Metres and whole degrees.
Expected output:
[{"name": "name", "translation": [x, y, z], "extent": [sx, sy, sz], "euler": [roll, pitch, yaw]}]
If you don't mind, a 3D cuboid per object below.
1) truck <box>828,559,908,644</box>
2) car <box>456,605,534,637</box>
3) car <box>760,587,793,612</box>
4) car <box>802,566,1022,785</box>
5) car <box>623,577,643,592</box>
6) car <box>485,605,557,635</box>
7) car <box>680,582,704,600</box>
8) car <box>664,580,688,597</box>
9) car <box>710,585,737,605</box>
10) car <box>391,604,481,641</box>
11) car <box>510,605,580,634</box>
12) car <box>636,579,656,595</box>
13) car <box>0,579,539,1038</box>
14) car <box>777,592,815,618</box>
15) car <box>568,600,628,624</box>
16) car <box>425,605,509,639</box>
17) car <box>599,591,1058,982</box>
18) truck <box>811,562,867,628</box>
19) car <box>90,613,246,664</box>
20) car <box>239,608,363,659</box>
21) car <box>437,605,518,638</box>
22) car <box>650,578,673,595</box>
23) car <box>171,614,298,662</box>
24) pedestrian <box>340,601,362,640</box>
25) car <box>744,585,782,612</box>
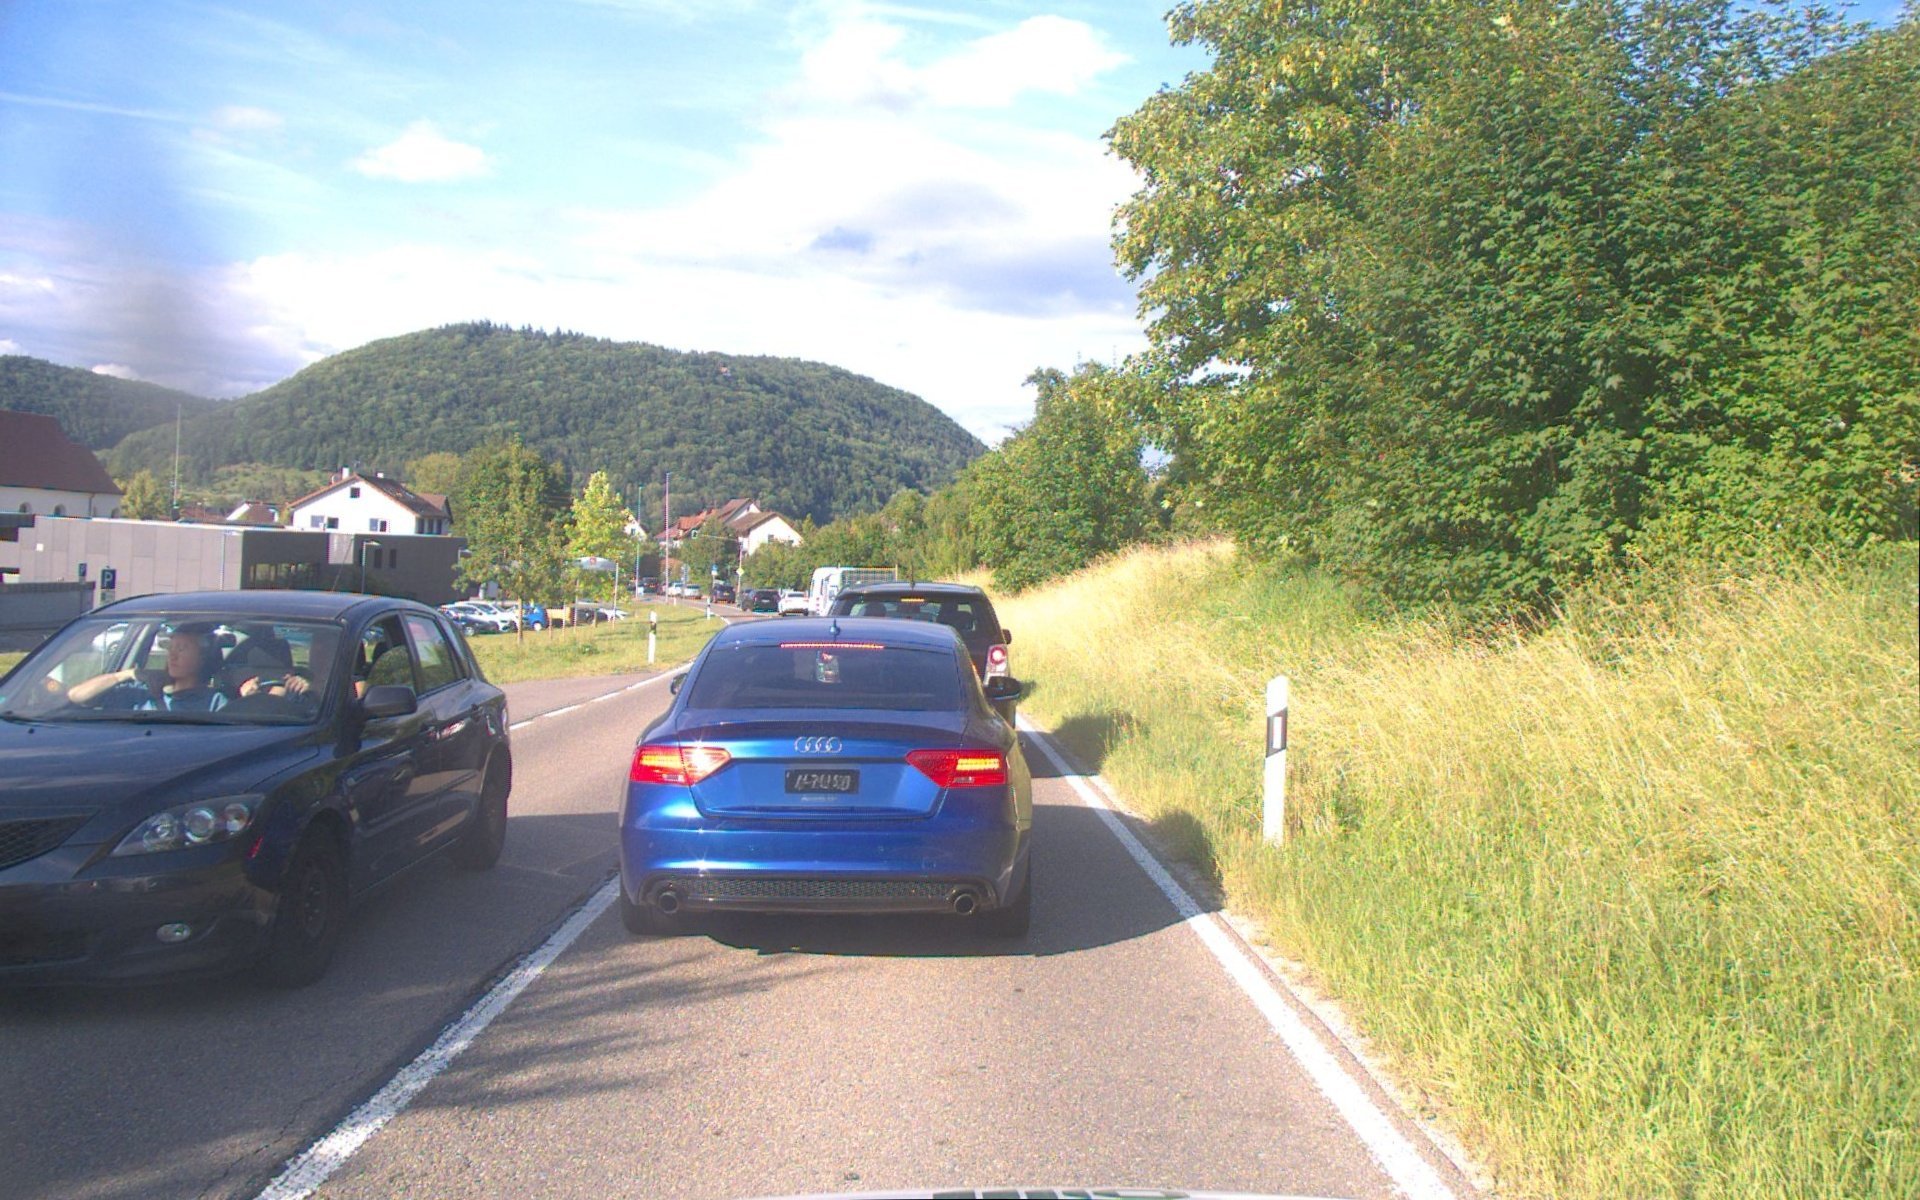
[{"name": "truck", "translation": [-3.129, 0.064, 54.849], "extent": [2.188, 2.615, 6.093], "euler": [1, 0, -7]}, {"name": "car", "translation": [-26.726, 1.184, 95.126], "extent": [3.907, 1.741, 1.999], "euler": [1, 0, -3]}, {"name": "car", "translation": [-13.102, -0.032, 117.758], "extent": [1.814, 1.742, 3.986], "euler": [1, 0, -13]}, {"name": "car", "translation": [-0.378, 0.608, 15.061], "extent": [1.718, 1.710, 3.846], "euler": [1, 0, 0]}, {"name": "car", "translation": [-39.139, -1.875, 197.754], "extent": [1.817, 1.742, 3.979], "euler": [1, 0, -19]}, {"name": "car", "translation": [-26.755, 1.214, 100.912], "extent": [3.907, 1.741, 1.999], "euler": [1, 0, -3]}, {"name": "car", "translation": [-26.225, -0.845, 161.839], "extent": [1.815, 1.742, 3.983], "euler": [1, 0, -16]}, {"name": "car", "translation": [-29.258, -1.151, 170.502], "extent": [1.817, 1.742, 3.979], "euler": [1, 0, -19]}, {"name": "car", "translation": [-20.595, -0.431, 144.171], "extent": [1.815, 1.742, 3.983], "euler": [1, 0, -16]}, {"name": "car", "translation": [-26.478, 1.127, 83.641], "extent": [3.907, 1.741, 1.999], "euler": [1, 0, -3]}, {"name": "car", "translation": [-25.980, 1.241, 103.598], "extent": [3.907, 1.741, 1.999], "euler": [1, 0, -3]}, {"name": "car", "translation": [-35.925, -1.476, 189.133], "extent": [1.817, 1.742, 3.980], "euler": [1, 0, -18]}, {"name": "car", "translation": [-3.191, 0.668, 7.292], "extent": [1.669, 1.455, 4.049], "euler": [1, 0, -1]}, {"name": "car", "translation": [-9.827, 0.297, 98.873], "extent": [1.813, 1.508, 3.988], "euler": [1, 0, -12]}, {"name": "car", "translation": [-25.832, 0.869, 118.167], "extent": [3.907, 1.606, 1.751], "euler": [1, 0, -3]}, {"name": "car", "translation": [-26.253, 1.155, 88.193], "extent": [3.907, 1.741, 1.999], "euler": [1, 0, -3]}, {"name": "car", "translation": [-0.492, 0.718, 8.195], "extent": [1.718, 1.455, 3.846], "euler": [1, 0, 0]}, {"name": "truck", "translation": [-5.126, -0.181, 69.372], "extent": [2.186, 2.615, 6.700], "euler": [1, 0, -5]}, {"name": "car", "translation": [-28.666, 1.390, 59.989], "extent": [4.637, 1.741, 1.999], "euler": [1, 0, -3]}, {"name": "car", "translation": [-27.380, 1.389, 68.828], "extent": [4.318, 2.043, 1.999], "euler": [1, 0, -3]}, {"name": "car", "translation": [-26.776, 1.165, 91.841], "extent": [3.907, 1.741, 1.999], "euler": [1, 0, -3]}, {"name": "car", "translation": [-32.547, -1.430, 180.333], "extent": [1.817, 1.742, 3.979], "euler": [1, 0, -19]}, {"name": "car", "translation": [-27.603, 1.424, 63.014], "extent": [3.907, 1.741, 1.999], "euler": [1, 0, -3]}, {"name": "pedestrian", "translation": [-32.352, 1.109, 87.887], "extent": [0.808, 2.049, 0.973], "euler": [1, -1, -1]}, {"name": "car", "translation": [-13.238, -0.119, 110.978], "extent": [1.816, 1.742, 3.982], "euler": [1, 0, -17]}]
